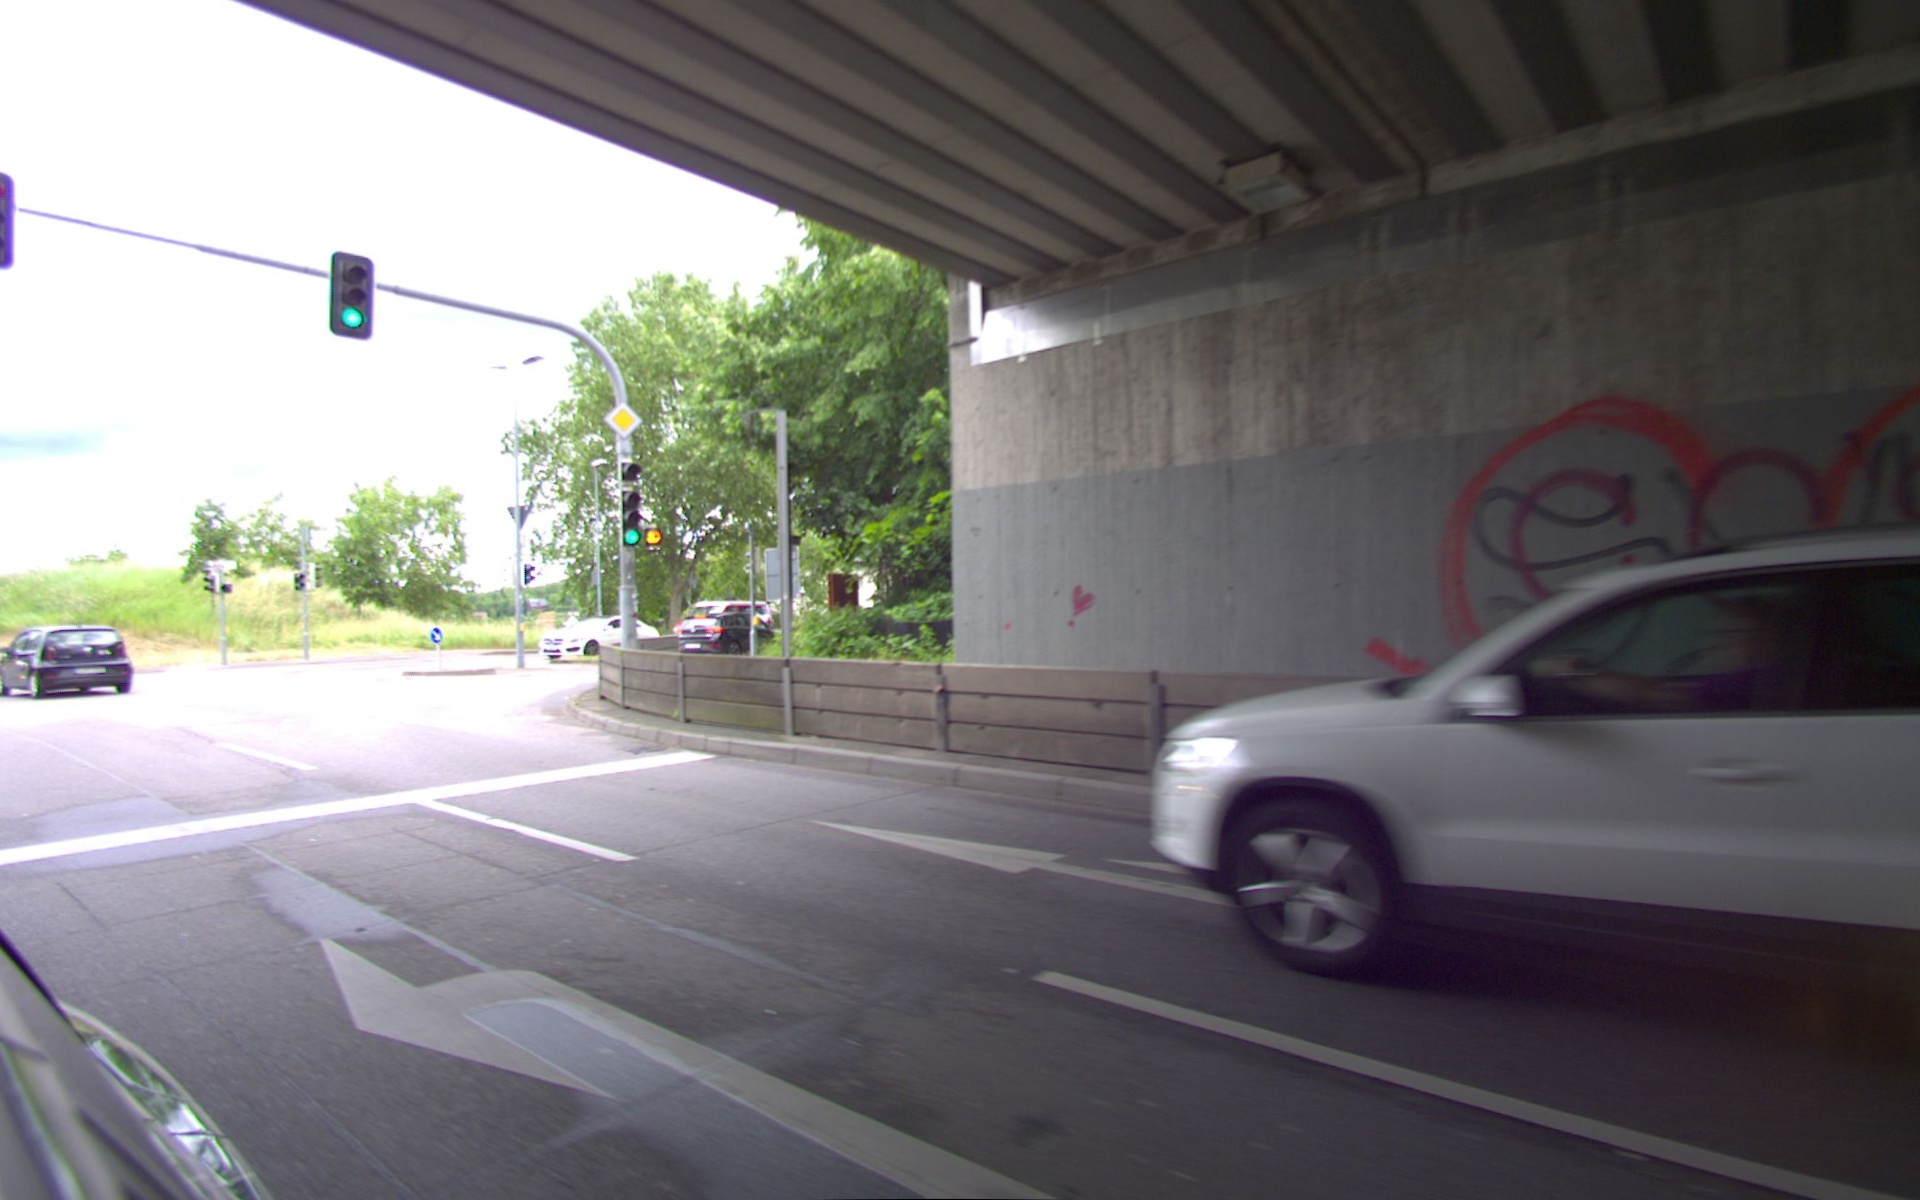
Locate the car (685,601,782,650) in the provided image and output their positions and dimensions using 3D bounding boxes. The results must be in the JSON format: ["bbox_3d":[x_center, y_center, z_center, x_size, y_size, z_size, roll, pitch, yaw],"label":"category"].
[{"bbox_3d":[-9.197,1.010,41.419,1.843,1.827,4.008,-2,0,23],"label":"car"}]

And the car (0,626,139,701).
[{"bbox_3d":[-19.308,1.295,21.664,3.991,1.420,1.708,-1,0,36],"label":"car"}]

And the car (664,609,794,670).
[{"bbox_3d":[-6.618,1.108,29.425,1.807,1.488,4.113,-3,0,18],"label":"car"}]

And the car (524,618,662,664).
[{"bbox_3d":[-12.374,1.347,34.450,1.987,1.349,4.386,0,0,23],"label":"car"}]

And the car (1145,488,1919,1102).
[{"bbox_3d":[2.933,0.518,3.626,4.104,1.672,1.766,-2,0,39],"label":"car"}]
